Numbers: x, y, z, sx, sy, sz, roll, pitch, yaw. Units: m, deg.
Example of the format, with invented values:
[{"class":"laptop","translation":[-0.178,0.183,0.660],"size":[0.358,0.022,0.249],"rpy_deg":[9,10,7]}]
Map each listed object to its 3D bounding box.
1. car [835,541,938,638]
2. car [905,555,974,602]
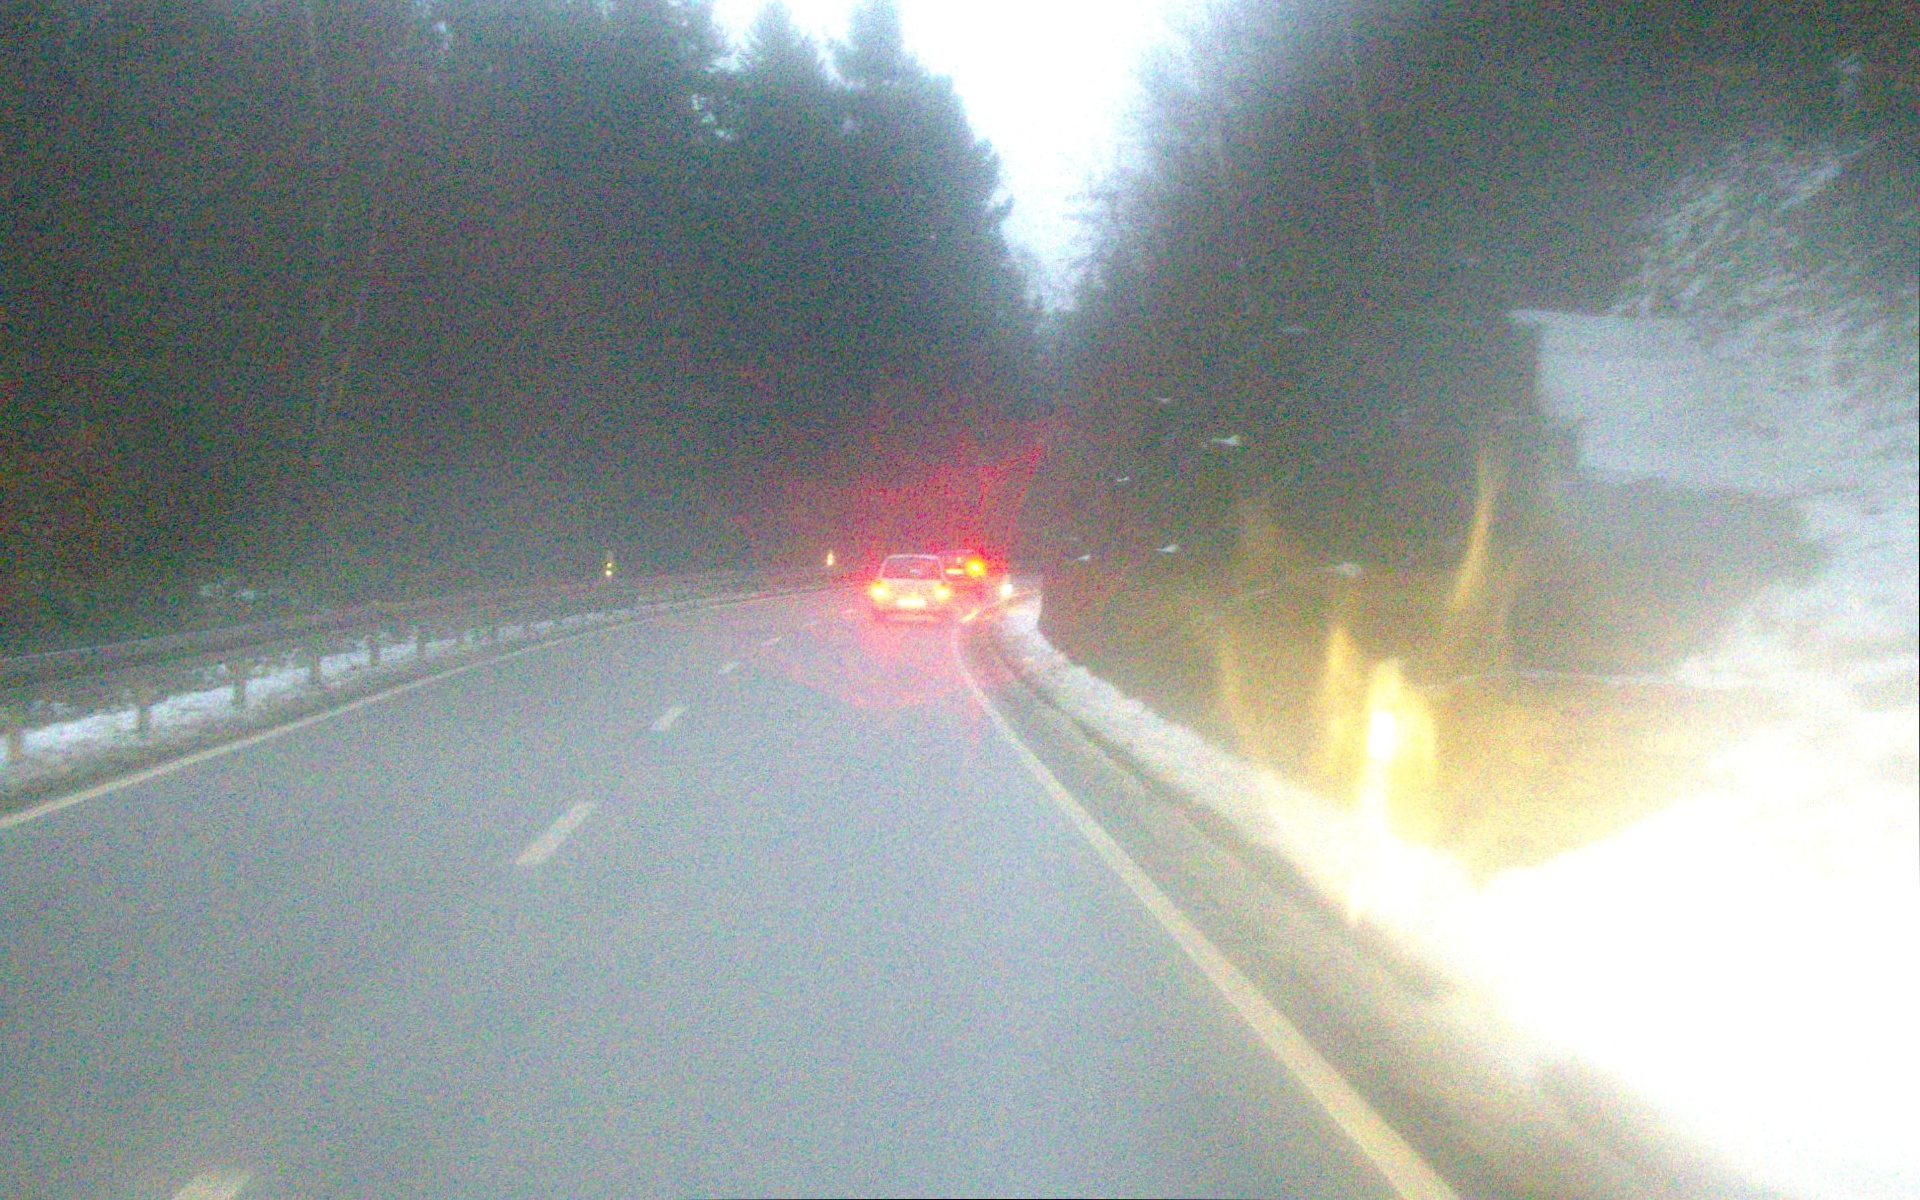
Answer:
[{"class":"car","translation":[-1.486,-0.248,70.360],"size":[1.993,1.866,4.000],"rpy_deg":[-2,1,-1]},{"class":"car","translation":[-0.639,-0.668,103.172],"size":[1.993,1.305,4.000],"rpy_deg":[-2,1,-1]}]
